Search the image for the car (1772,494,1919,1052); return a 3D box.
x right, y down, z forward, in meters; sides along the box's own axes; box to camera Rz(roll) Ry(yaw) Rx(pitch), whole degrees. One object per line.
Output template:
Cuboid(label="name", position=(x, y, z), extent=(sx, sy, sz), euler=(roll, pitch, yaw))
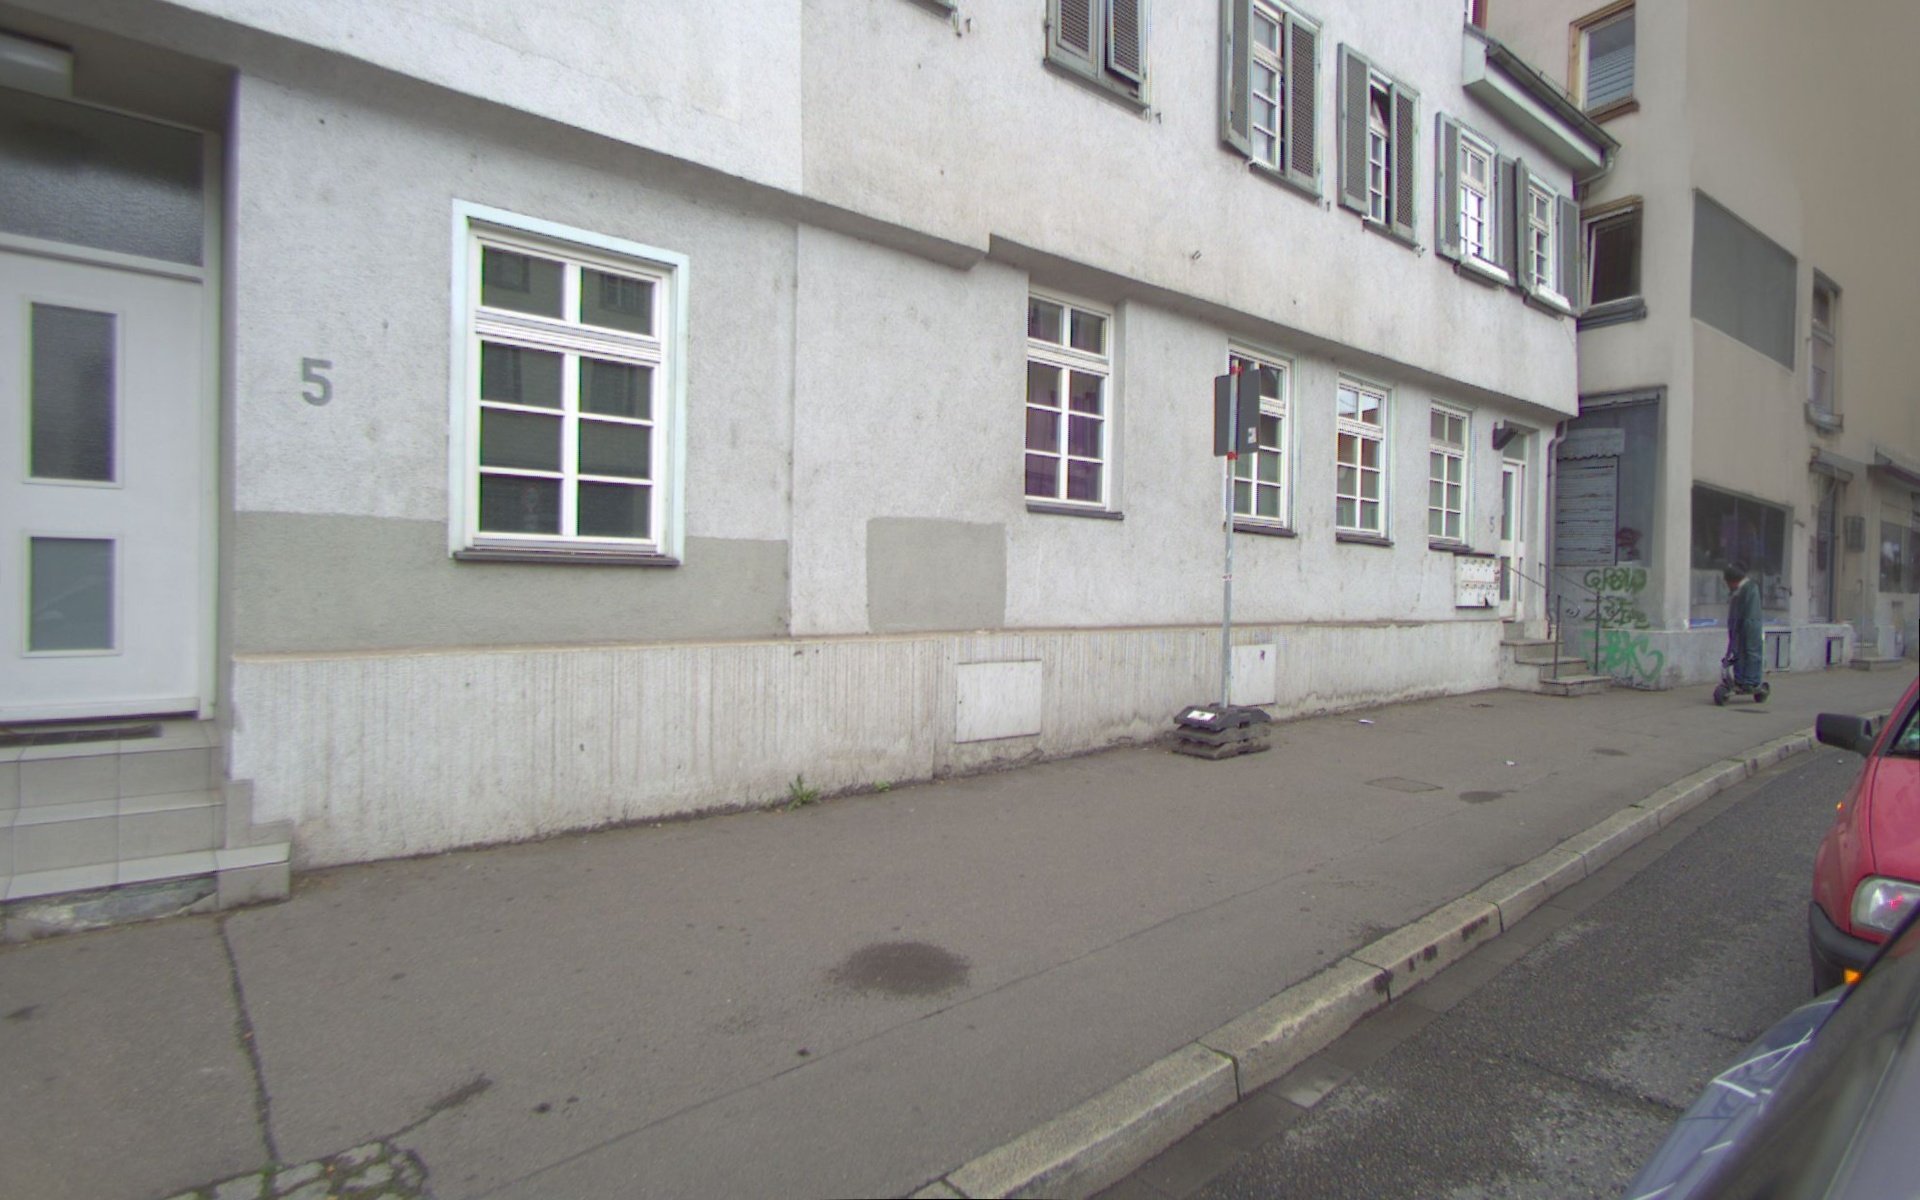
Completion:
Cuboid(label="car", position=(4.367, 0.535, 3.461), extent=(3.928, 1.444, 1.791), euler=(3, -1, -41))

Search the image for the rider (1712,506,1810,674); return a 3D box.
Cuboid(label="rider", position=(9.348, -0.125, 11.808), extent=(0.783, 1.870, 0.719), euler=(1, 1, -41))
